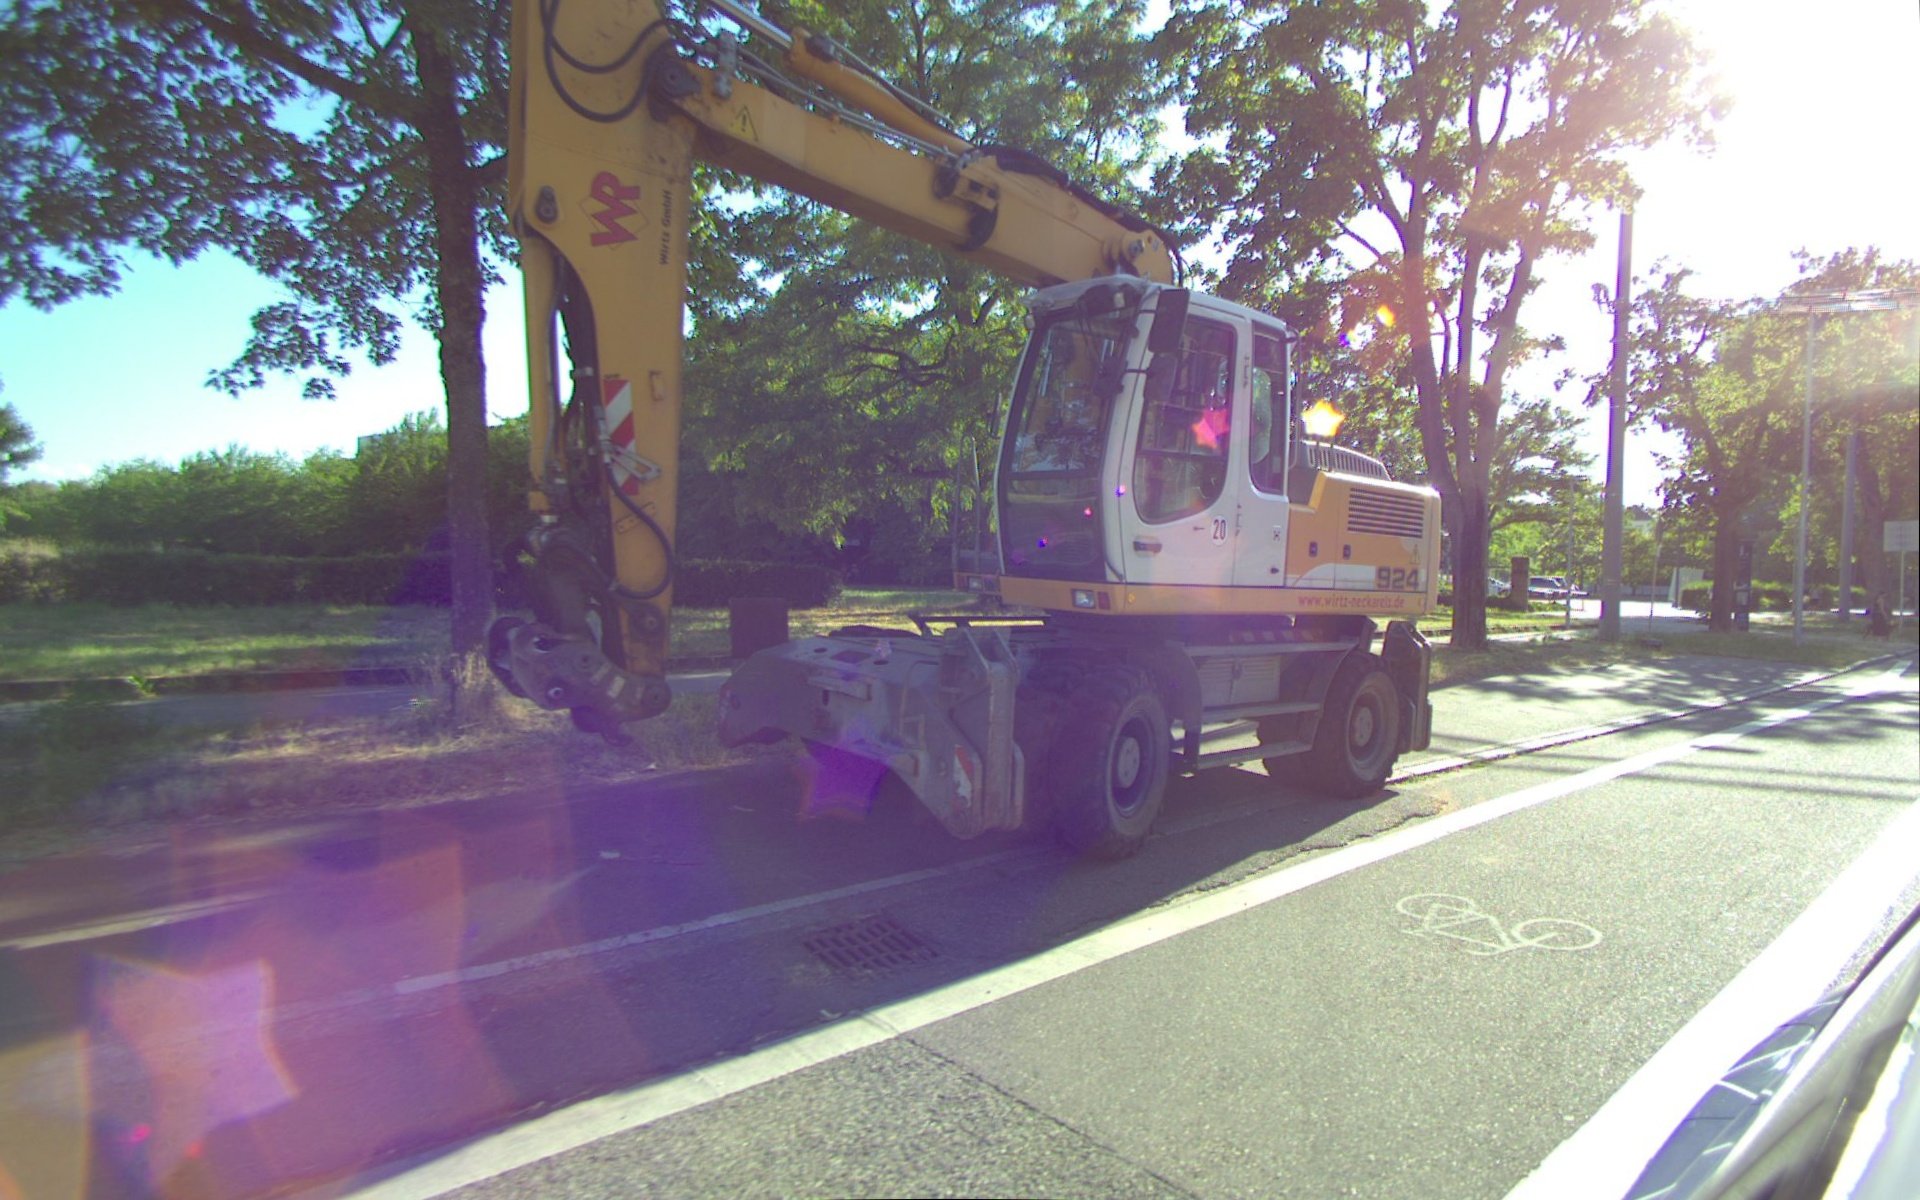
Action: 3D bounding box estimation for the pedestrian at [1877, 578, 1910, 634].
[{"bbox_3d":[28.443,0.172,30.840,0.527,1.683,0.483,4,3,28],"label":"pedestrian"}]

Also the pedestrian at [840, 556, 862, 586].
[{"bbox_3d":[-6.589,-1.765,61.002,0.823,1.778,1.013,-1,0,40],"label":"pedestrian"}]

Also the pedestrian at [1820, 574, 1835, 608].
[{"bbox_3d":[48.255,-0.480,56.303,0.555,1.863,0.501,0,2,-42],"label":"pedestrian"}]

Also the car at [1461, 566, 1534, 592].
[{"bbox_3d":[35.424,-1.407,66.740,4.119,1.529,1.780,3,2,32],"label":"car"}]

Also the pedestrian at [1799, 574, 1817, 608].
[{"bbox_3d":[47.724,-0.522,56.956,0.555,1.863,0.645,0,2,-42],"label":"pedestrian"}]

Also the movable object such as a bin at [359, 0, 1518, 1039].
[{"bbox_3d":[0.594,-1.058,6.750,7.468,4.665,2.920,0,5,-42],"label":"movable object such as a bin"}]

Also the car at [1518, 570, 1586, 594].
[{"bbox_3d":[45.199,-1.399,77.400,4.349,1.645,1.782,3,2,29],"label":"car"}]

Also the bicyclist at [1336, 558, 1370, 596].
[{"bbox_3d":[16.580,-0.979,42.711,1.199,1.558,0.611,3,2,36],"label":"bicyclist"}]

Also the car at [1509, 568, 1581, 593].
[{"bbox_3d":[41.946,-1.433,72.626,4.349,1.645,1.782,3,2,29],"label":"car"}]

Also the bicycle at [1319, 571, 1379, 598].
[{"bbox_3d":[16.441,-0.653,42.816,2.276,1.069,0.611,3,2,36],"label":"bicycle"}]

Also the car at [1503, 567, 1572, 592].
[{"bbox_3d":[43.046,-1.543,75.504,4.349,1.645,1.782,3,2,29],"label":"car"}]
